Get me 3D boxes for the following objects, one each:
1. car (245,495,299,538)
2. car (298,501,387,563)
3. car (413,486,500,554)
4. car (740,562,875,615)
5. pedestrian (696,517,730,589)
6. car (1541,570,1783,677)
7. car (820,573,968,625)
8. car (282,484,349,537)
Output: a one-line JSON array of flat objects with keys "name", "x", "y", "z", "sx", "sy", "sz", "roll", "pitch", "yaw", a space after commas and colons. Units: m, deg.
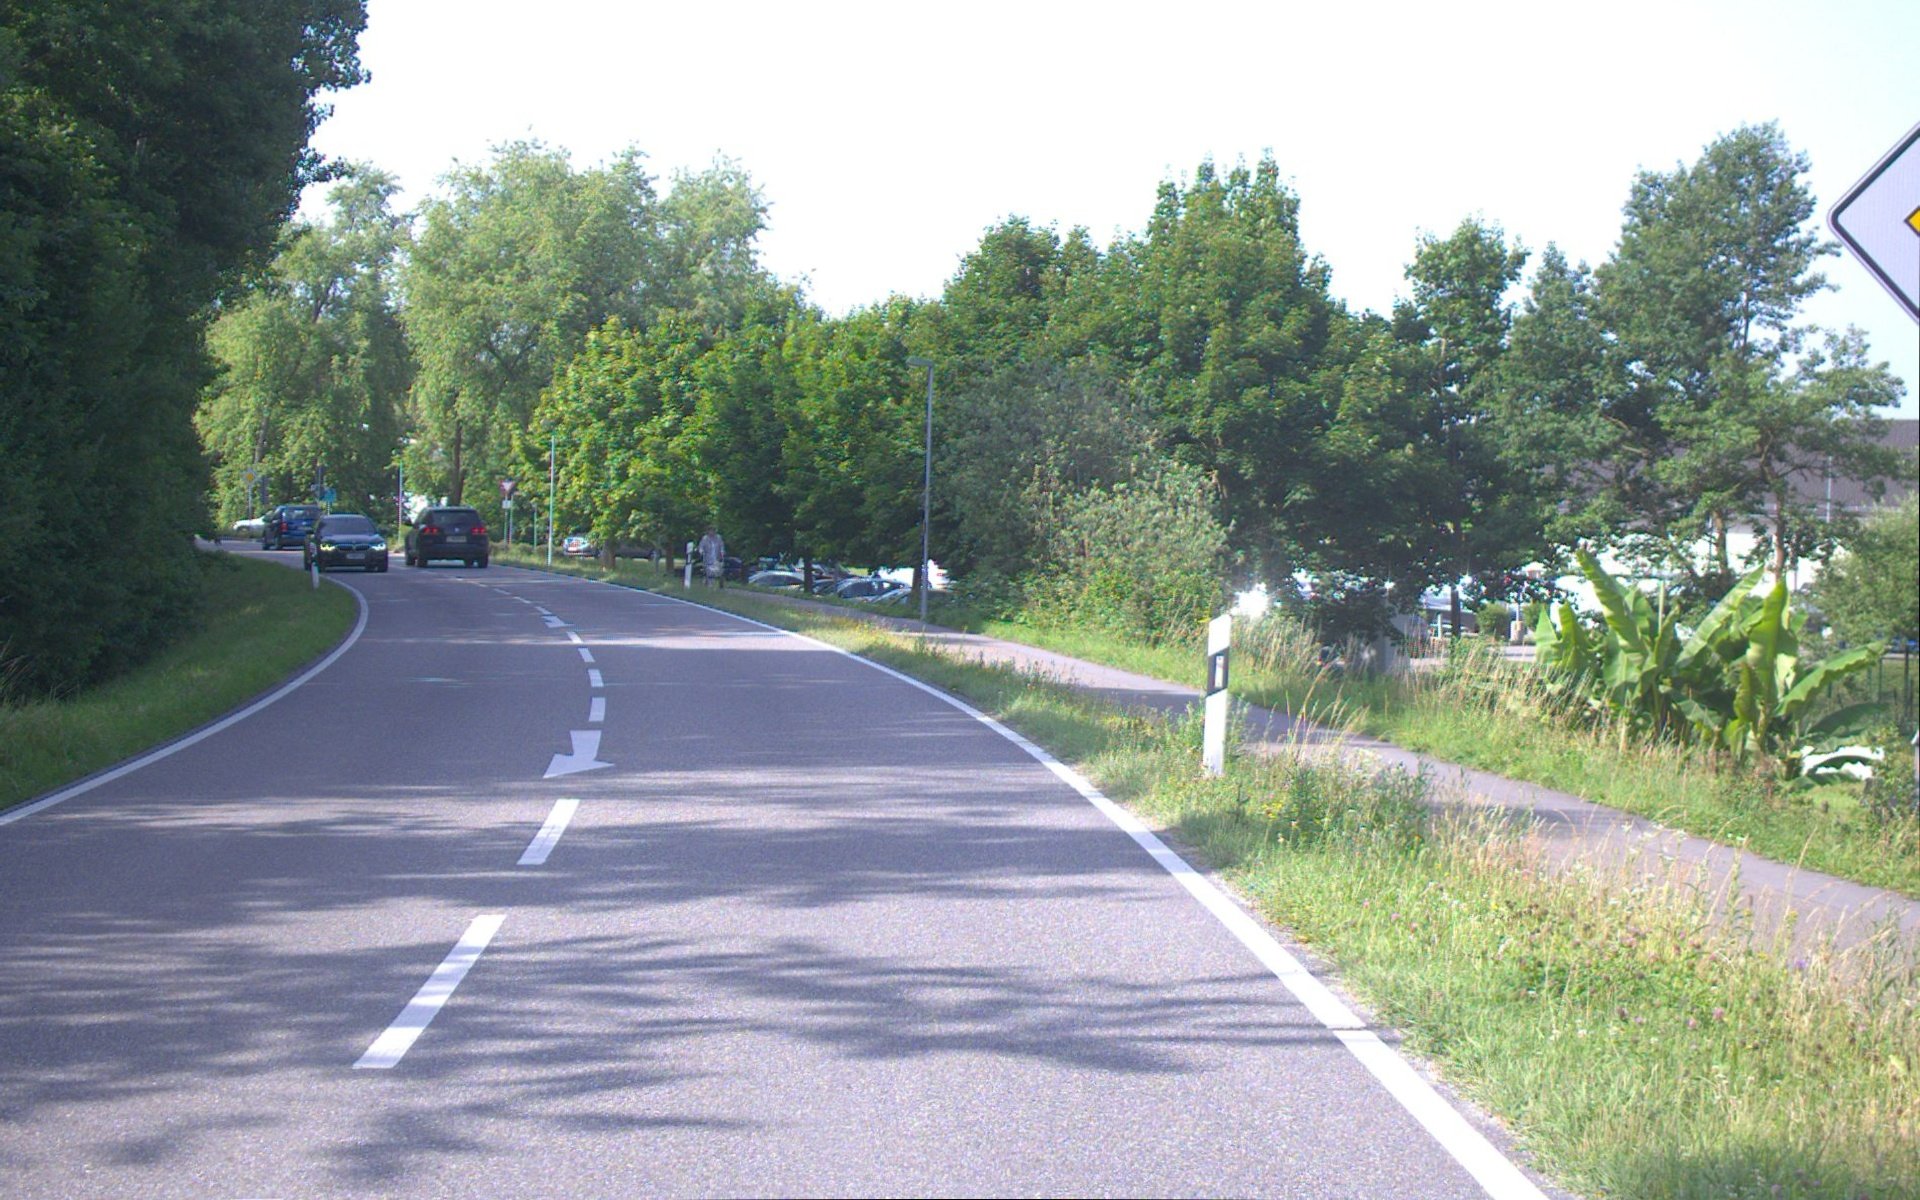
[{"name": "car", "x": -29.670, "y": -3.611, "z": 148.337, "sx": 2.003, "sy": 1.765, "sz": 4.001, "roll": 2, "pitch": 2, "yaw": -8}, {"name": "car", "x": -16.086, "y": -1.795, "z": 89.458, "sx": 1.750, "sy": 1.469, "sz": 4.002, "roll": 1, "pitch": 2, "yaw": -18}, {"name": "car", "x": -13.930, "y": -2.225, "z": 94.998, "sx": 1.924, "sy": 1.765, "sz": 4.002, "roll": 2, "pitch": 2, "yaw": -14}, {"name": "car", "x": -5.135, "y": -0.375, "z": 115.461, "sx": 4.233, "sy": 1.674, "sz": 1.891, "roll": 1, "pitch": 1, "yaw": -12}, {"name": "pedestrian", "x": -6.148, "y": -1.171, "z": 85.604, "sx": 0.754, "sy": 1.769, "sz": 0.973, "roll": 1, "pitch": 1, "yaw": -2}, {"name": "car", "x": 18.656, "y": 0.586, "z": 91.482, "sx": 5.778, "sy": 2.658, "sz": 2.402, "roll": 2, "pitch": 1, "yaw": 36}, {"name": "car", "x": -2.029, "y": -0.029, "z": 104.578, "sx": 4.261, "sy": 1.466, "sz": 1.844, "roll": 1, "pitch": 1, "yaw": -8}, {"name": "car", "x": -23.167, "y": -3.232, "z": 123.526, "sx": 2.003, "sy": 1.765, "sz": 4.002, "roll": 1, "pitch": 2, "yaw": -15}]
